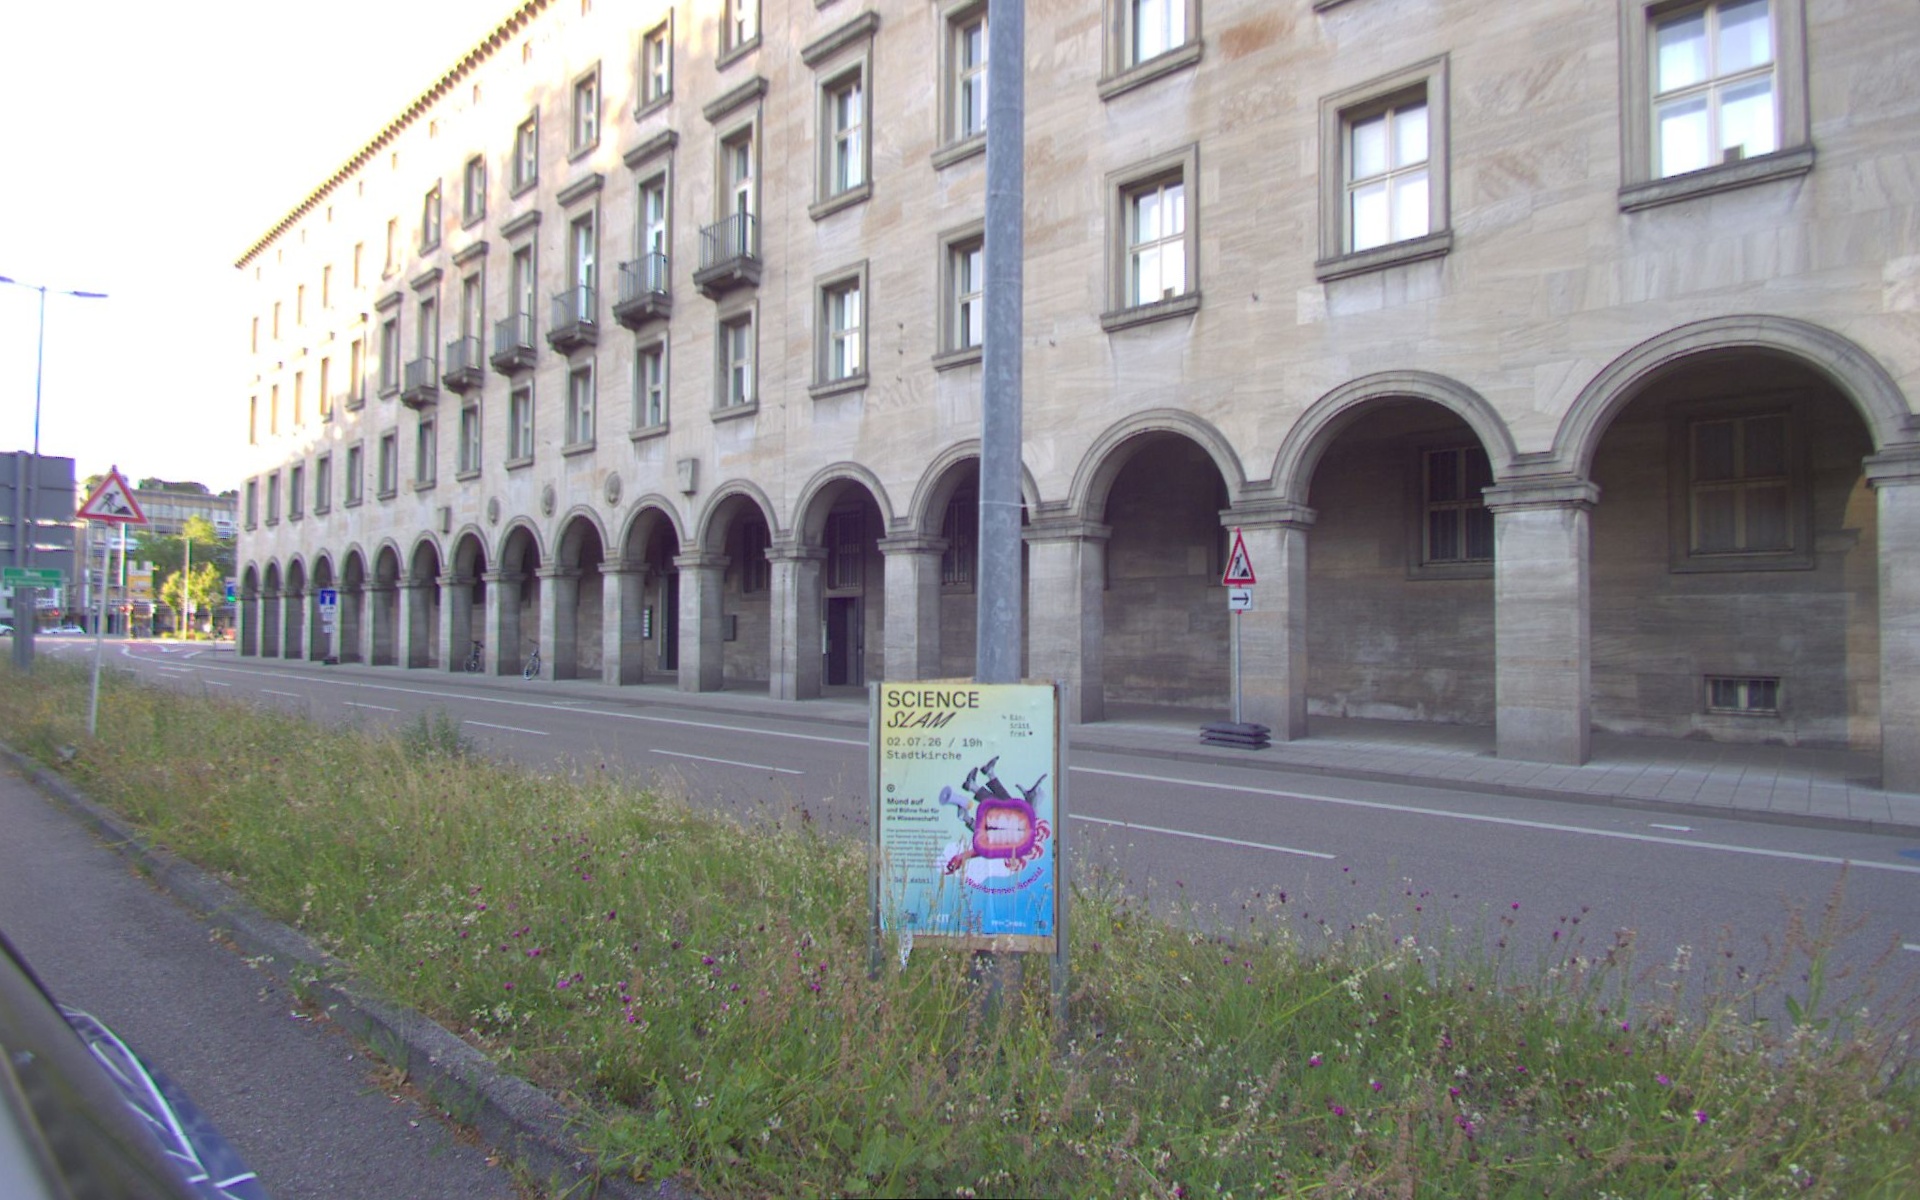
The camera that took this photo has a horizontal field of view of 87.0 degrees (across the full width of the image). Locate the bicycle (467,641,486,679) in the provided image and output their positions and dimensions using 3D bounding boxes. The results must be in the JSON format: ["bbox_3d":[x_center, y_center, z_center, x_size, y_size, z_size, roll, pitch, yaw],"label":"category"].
[{"bbox_3d":[-15.941,1.966,33.402,0.505,1.188,2.431,1,-2,-25],"label":"bicycle"}]

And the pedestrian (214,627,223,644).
[{"bbox_3d":[-65.805,3.158,89.837,0.389,1.553,0.519,-2,-3,41],"label":"pedestrian"}]

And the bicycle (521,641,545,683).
[{"bbox_3d":[-12.694,1.820,30.117,0.505,1.130,2.431,1,-1,-20],"label":"bicycle"}]

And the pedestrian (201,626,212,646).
[{"bbox_3d":[-66.551,3.200,89.422,0.506,1.771,0.630,-2,-3,41],"label":"pedestrian"}]

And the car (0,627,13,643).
[{"bbox_3d":[-99.471,3.590,103.165,1.995,1.621,3.983,-1,-3,34],"label":"car"}]
